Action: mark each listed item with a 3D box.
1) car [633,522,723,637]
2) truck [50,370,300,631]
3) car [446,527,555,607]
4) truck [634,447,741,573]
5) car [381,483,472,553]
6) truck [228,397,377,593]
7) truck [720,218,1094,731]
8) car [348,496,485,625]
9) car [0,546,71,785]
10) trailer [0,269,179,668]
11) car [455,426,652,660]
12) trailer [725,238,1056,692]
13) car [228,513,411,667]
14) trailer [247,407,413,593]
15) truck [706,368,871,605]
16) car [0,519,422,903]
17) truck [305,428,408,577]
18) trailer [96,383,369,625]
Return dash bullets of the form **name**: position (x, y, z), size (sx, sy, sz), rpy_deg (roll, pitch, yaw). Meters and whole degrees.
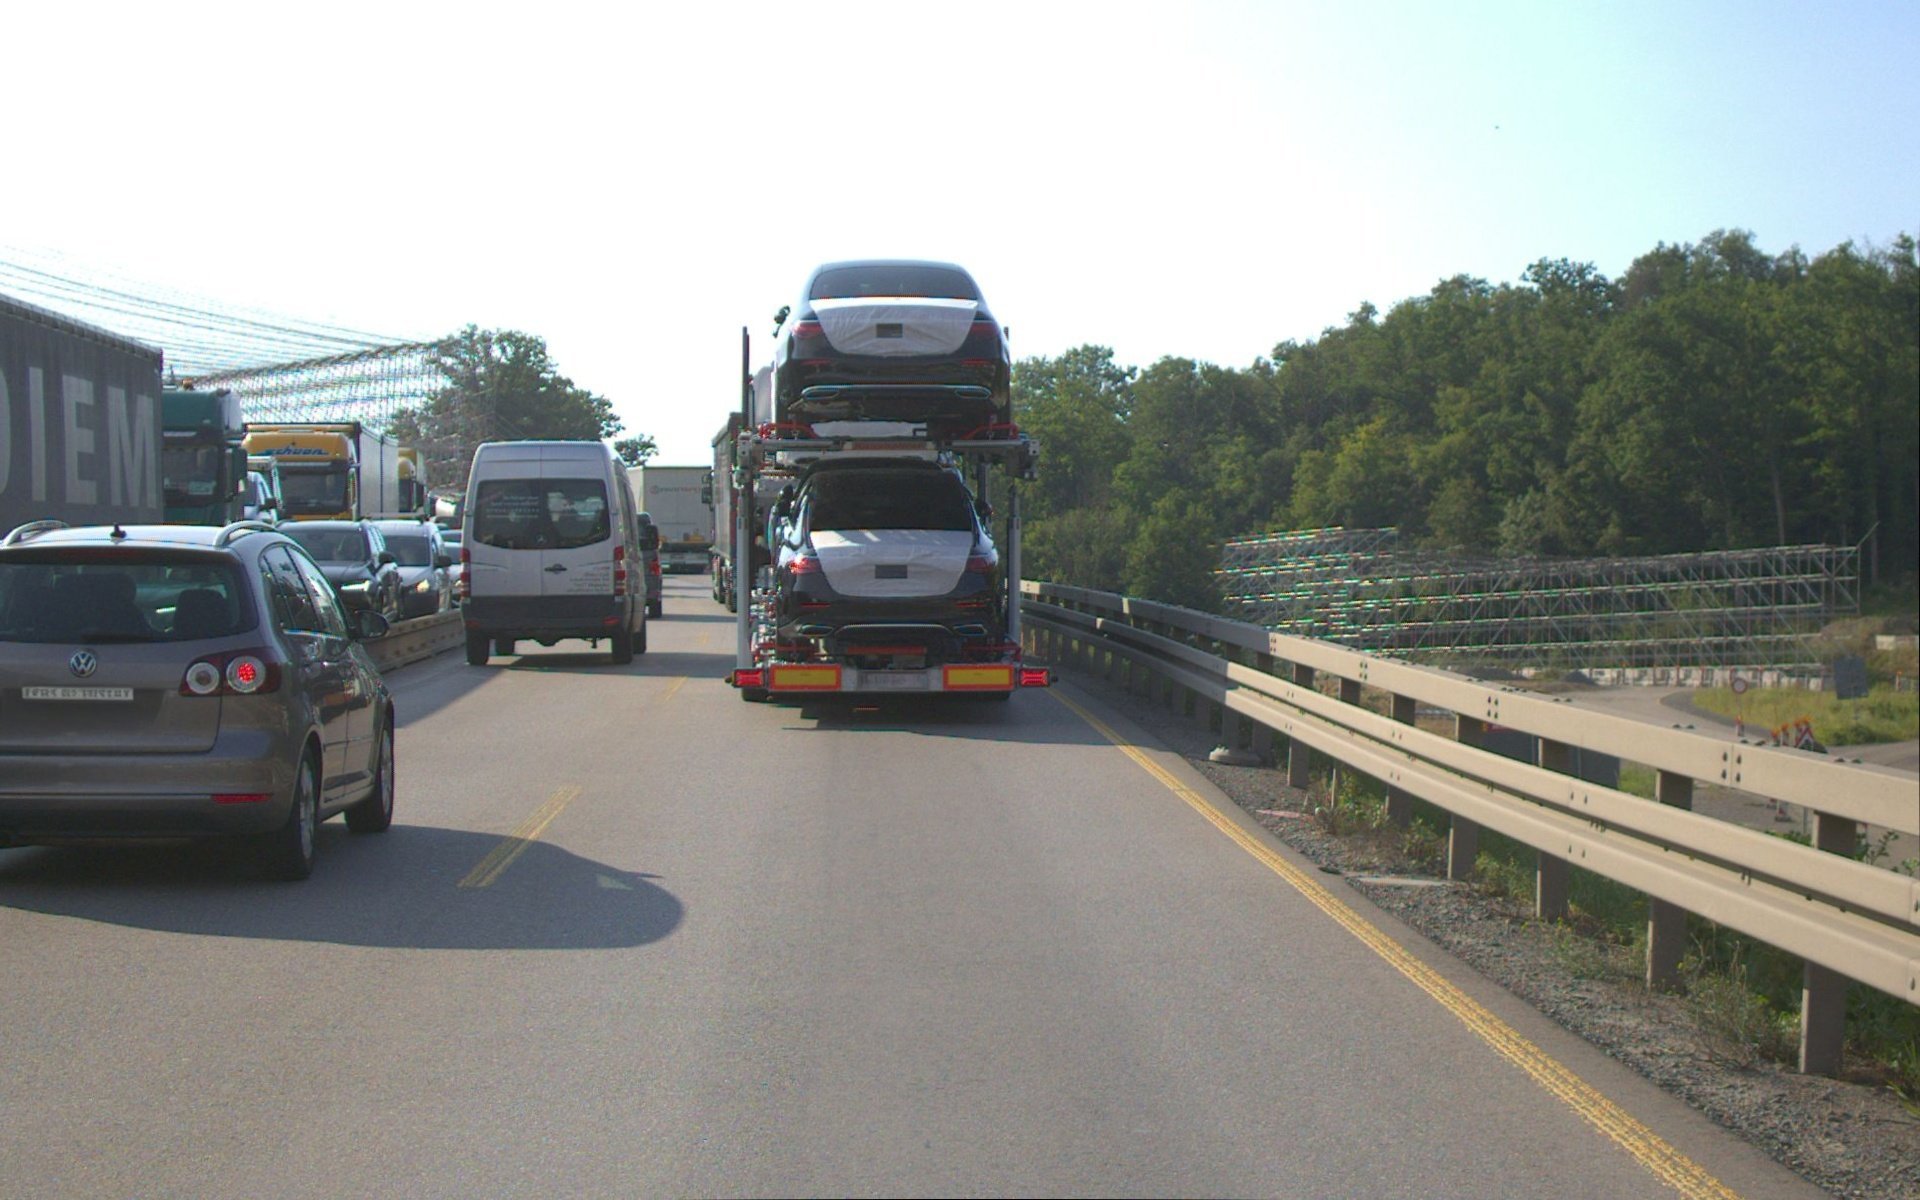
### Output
- **car**: position (-5.176, -0.375, 63.294), size (1.528, 2.007, 4.001), rpy_deg (2, 0, -4)
- **truck**: position (-12.308, -1.526, 54.479), size (2.748, 3.792, 7.113), rpy_deg (-1, 1, -4)
- **car**: position (-9.344, -0.668, 70.138), size (1.803, 1.516, 4.817), rpy_deg (-2, 1, -3)
- **truck**: position (-10.458, -3.501, 133.283), size (3.648, 4.661, 11.697), rpy_deg (0, 2, -2)
- **car**: position (-13.340, -2.038, 86.117), size (1.959, 1.639, 4.849), rpy_deg (-1, 0, -6)
- **truck**: position (-14.440, -2.249, 75.863), size (2.700, 4.126, 5.795), rpy_deg (-1, 0, -6)
- **truck**: position (-0.592, -0.997, 29.617), size (2.869, 3.966, 5.772), rpy_deg (-1, 0, -4)
- **car**: position (-8.843, -0.628, 56.278), size (1.823, 1.927, 5.131), rpy_deg (-3, 0, -6)
- **car**: position (-7.227, 0.386, 22.060), size (1.862, 1.581, 4.746), rpy_deg (3, 0, -2)
- **trailer**: position (-11.541, -1.402, 40.112), size (2.714, 4.108, 12.494), rpy_deg (-1, 1, -4)
- **car**: position (-4.869, -0.672, 41.683), size (1.979, 2.675, 4.147), rpy_deg (-1, 0, -2)
- **trailer**: position (-1.108, -1.240, 37.947), size (2.874, 3.980, 15.281), rpy_deg (-1, 0, -4)
- **car**: position (-8.598, -0.125, 46.525), size (1.833, 1.957, 4.900), rpy_deg (0, 0, -3)
- **trailer**: position (-15.419, -2.283, 85.236), size (2.714, 4.120, 16.755), rpy_deg (-1, 0, -6)
- **truck**: position (-3.777, -2.405, 73.359), size (3.228, 4.661, 11.697), rpy_deg (0, 2, -4)
- **car**: position (-3.697, 0.452, 16.365), size (1.700, 1.581, 4.147), rpy_deg (-1, 0, -1)
- **truck**: position (-17.323, -2.758, 98.860), size (2.693, 4.182, 4.399), rpy_deg (-1, 0, -7)
- **trailer**: position (-13.002, -1.650, 62.971), size (2.748, 3.802, 16.050), rpy_deg (-1, 1, -4)
